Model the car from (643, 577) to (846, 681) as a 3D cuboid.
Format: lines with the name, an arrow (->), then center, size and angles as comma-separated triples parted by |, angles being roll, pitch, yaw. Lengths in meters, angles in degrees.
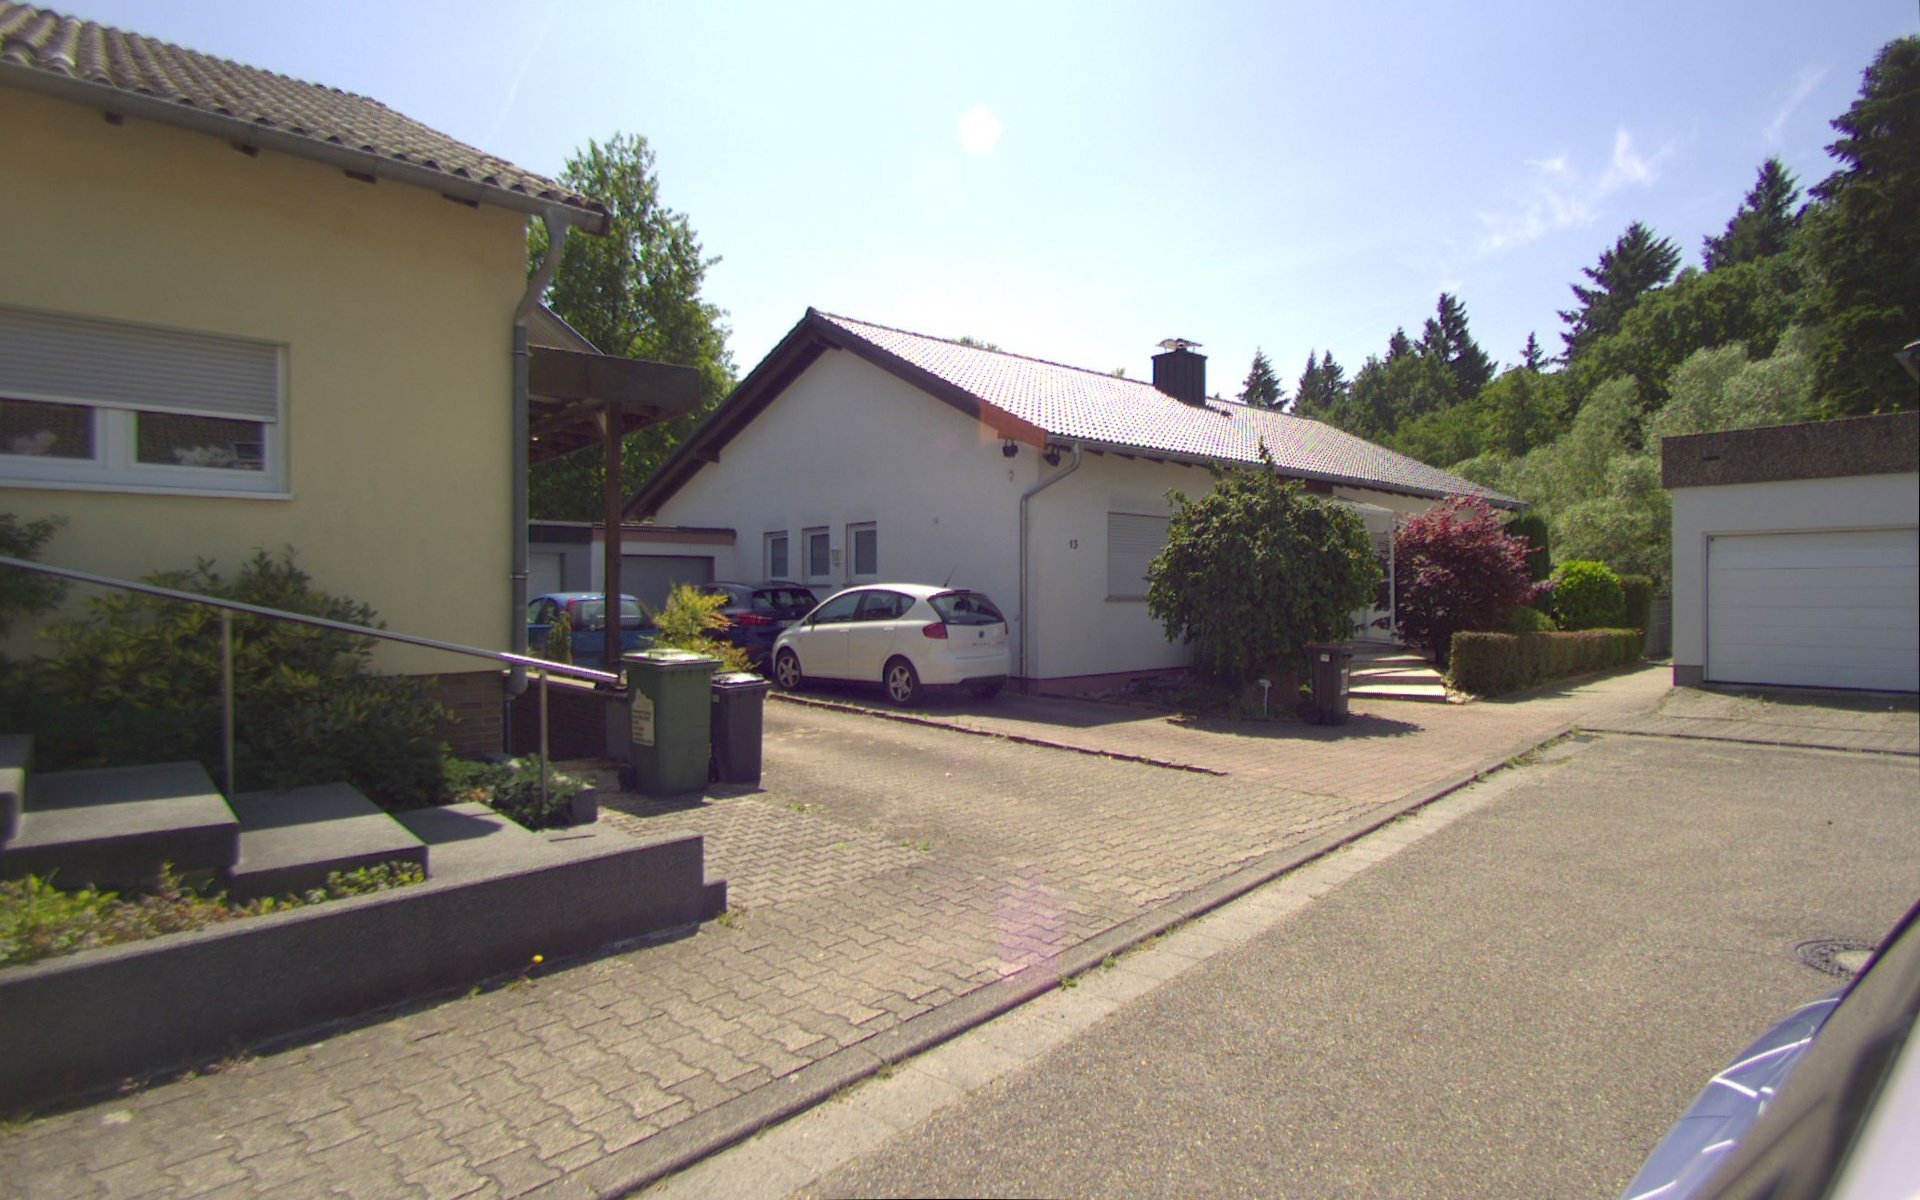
car -> -3.939, 0.412, 18.068 | 1.895, 1.628, 3.994 | -1, 2, -40

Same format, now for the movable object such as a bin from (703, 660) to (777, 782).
movable object such as a bin -> -1.769, 0.954, 8.127 | 0.424, 0.902, 0.401 | 0, 0, 42

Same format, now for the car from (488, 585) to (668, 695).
car -> -5.973, 0.528, 15.667 | 1.591, 1.473, 3.249 | 0, 1, -41

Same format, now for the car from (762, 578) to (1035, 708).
car -> -0.986, 0.498, 14.413 | 1.723, 1.588, 3.990 | -1, 1, -44

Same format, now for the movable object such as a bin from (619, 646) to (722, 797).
movable object such as a bin -> -2.217, 0.903, 7.766 | 0.489, 1.054, 0.584 | -1, 1, 41

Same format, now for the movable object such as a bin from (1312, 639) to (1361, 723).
movable object such as a bin -> 4.286, 0.909, 11.527 | 0.369, 0.902, 0.390 | -1, 0, -42
